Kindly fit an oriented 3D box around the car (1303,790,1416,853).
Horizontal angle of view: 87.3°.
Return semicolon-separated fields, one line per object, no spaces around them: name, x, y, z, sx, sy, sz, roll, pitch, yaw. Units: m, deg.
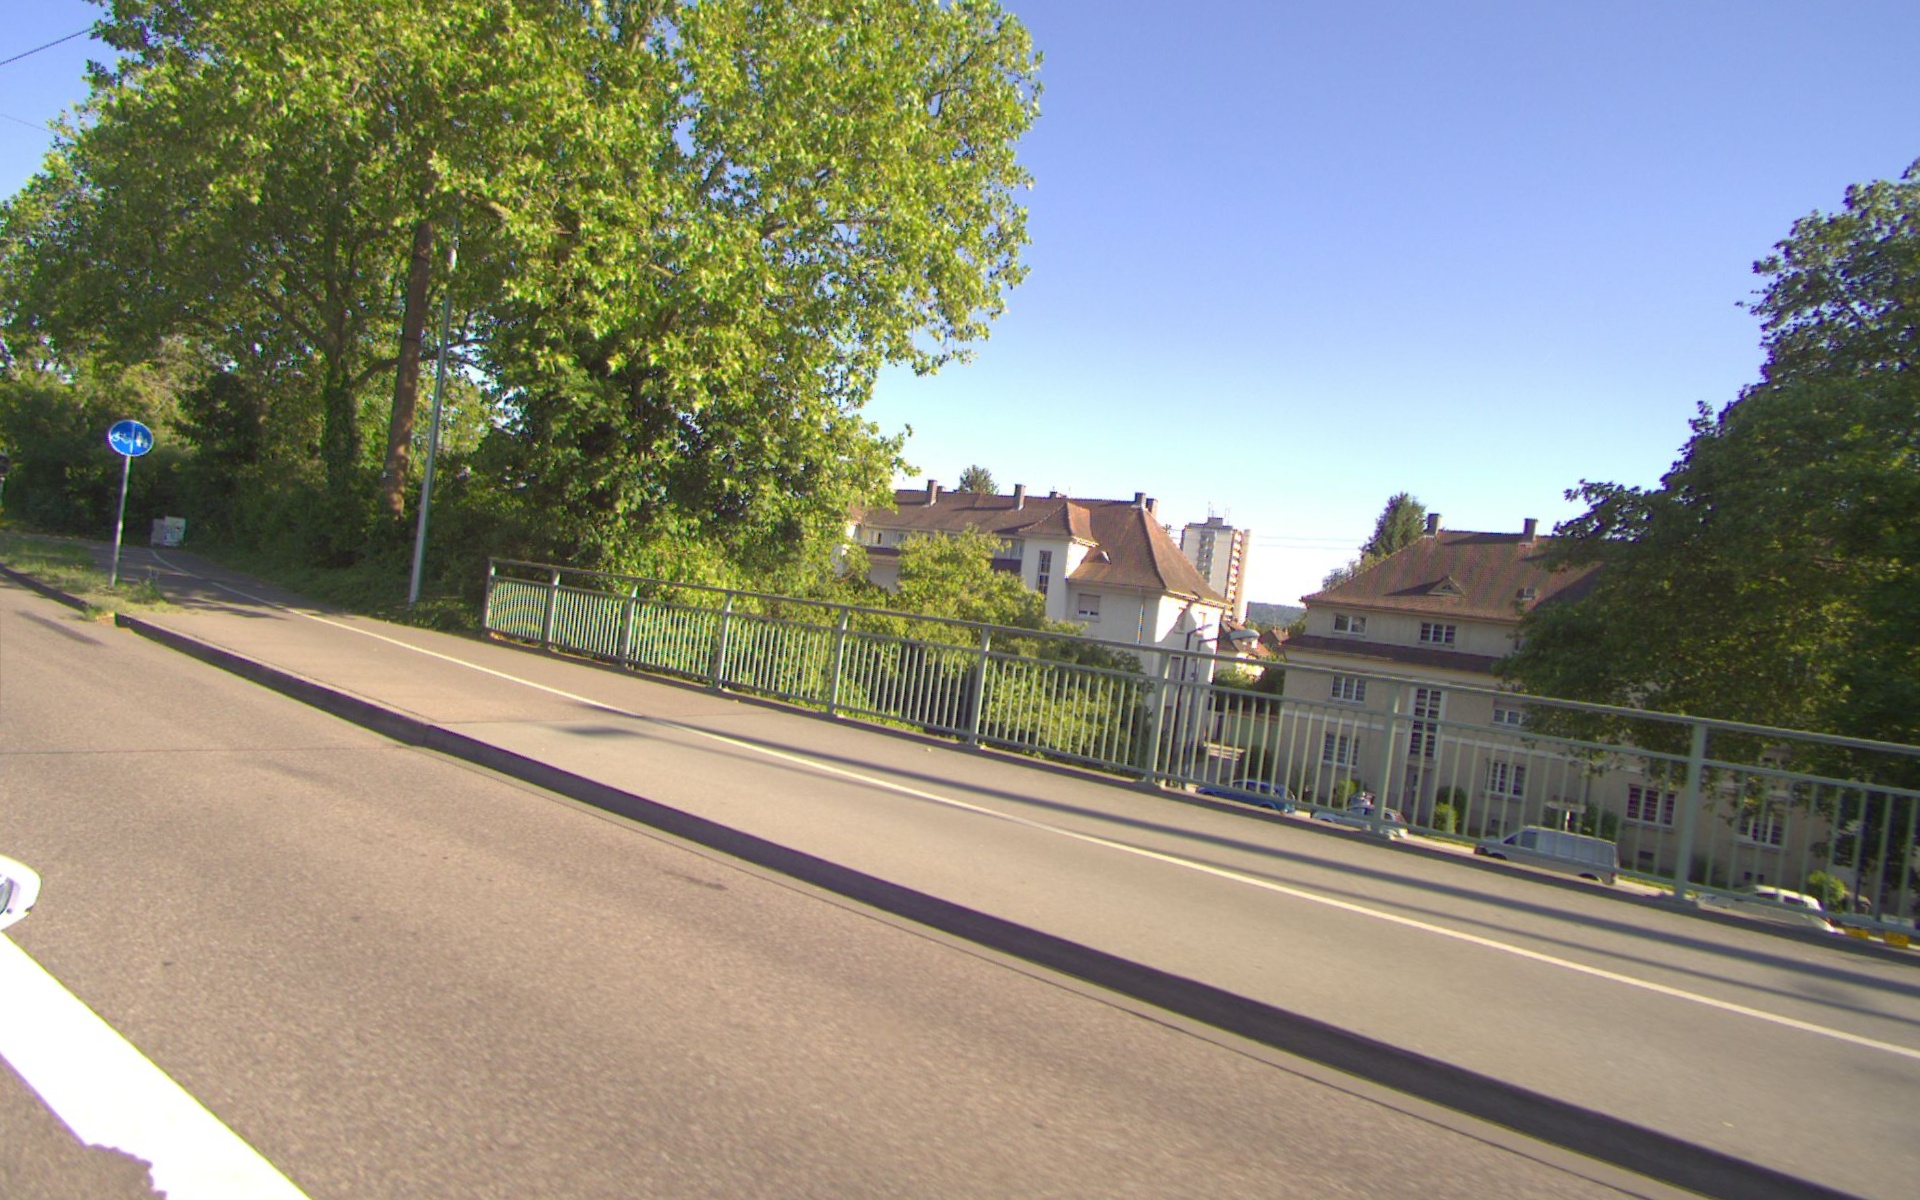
car;16.744;9.267;42.226;4.001;1.699;1.857;7;-6;32

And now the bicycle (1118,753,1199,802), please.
bicycle;4.229;3.780;21.488;1.577;0.733;0.431;6;-4;32

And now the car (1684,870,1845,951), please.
car;27.595;10.622;34.674;4.006;1.550;1.717;7;-6;32

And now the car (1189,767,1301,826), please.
car;12.690;8.729;44.867;4.309;1.699;1.857;7;-6;32

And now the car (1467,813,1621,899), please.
car;22.177;9.681;38.348;4.749;2.047;1.857;7;-6;32
